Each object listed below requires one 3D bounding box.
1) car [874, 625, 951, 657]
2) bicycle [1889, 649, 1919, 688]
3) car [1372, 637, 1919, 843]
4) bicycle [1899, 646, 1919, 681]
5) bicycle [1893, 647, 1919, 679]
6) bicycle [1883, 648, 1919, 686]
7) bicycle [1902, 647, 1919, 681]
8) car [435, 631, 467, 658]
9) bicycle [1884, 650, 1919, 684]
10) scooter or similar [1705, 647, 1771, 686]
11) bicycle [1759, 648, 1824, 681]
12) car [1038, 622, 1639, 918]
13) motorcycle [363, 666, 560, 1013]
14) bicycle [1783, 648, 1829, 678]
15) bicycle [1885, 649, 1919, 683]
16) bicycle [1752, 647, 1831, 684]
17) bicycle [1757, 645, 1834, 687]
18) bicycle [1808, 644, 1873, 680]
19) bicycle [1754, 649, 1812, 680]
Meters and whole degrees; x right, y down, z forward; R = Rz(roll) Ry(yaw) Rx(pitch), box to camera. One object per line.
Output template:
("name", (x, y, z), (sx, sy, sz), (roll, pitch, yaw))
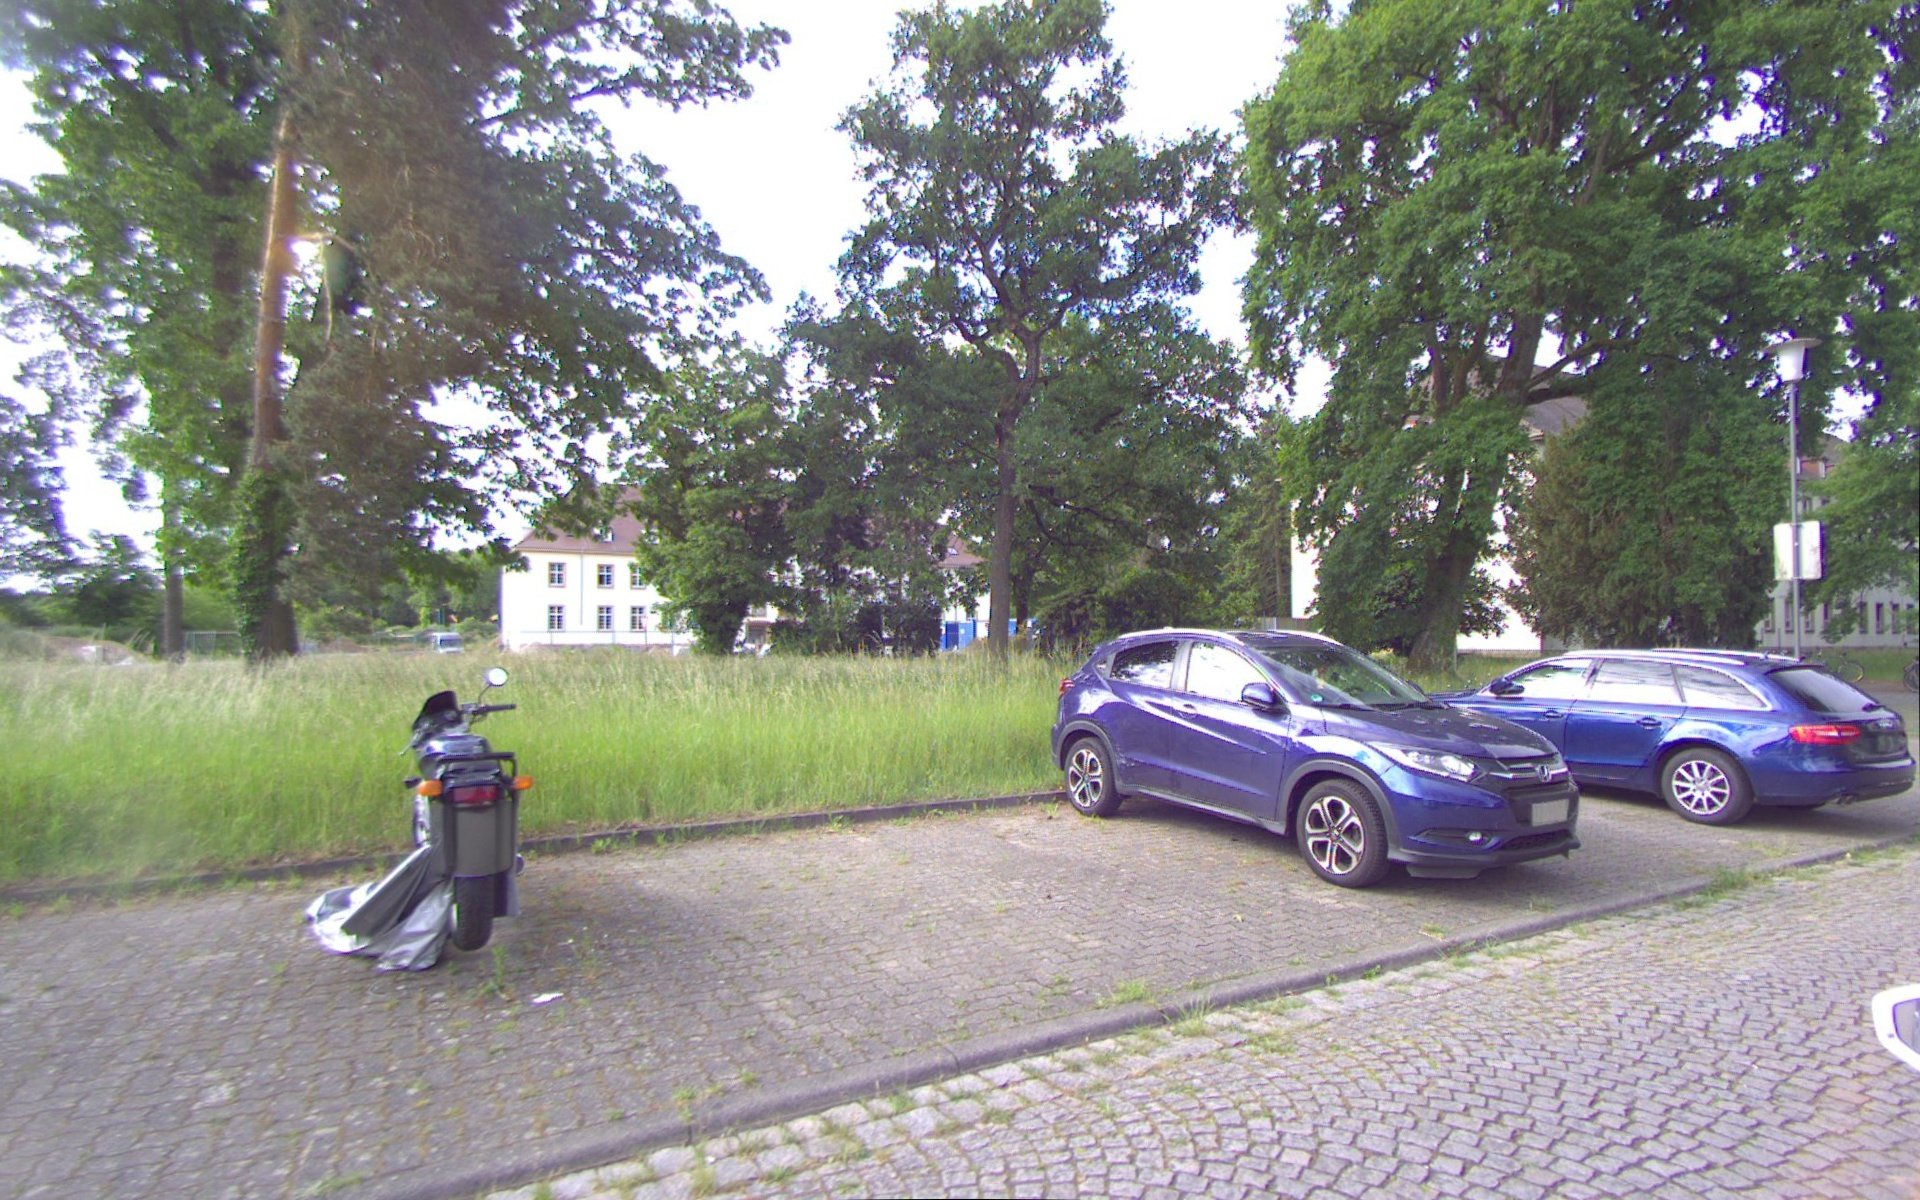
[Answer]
("car", (-3.638, 3.140, 76.860), (5.466, 2.237, 2.109), (2, 0, -30))
("bicycle", (29.156, 2.049, 30.202), (1.748, 1.118, 0.699), (-4, -2, 42))
("car", (6.480, 1.147, 9.962), (1.661, 1.499, 4.414), (1, -2, -28))
("bicycle", (32.462, 2.096, 33.433), (1.678, 1.131, 0.538), (-4, -2, 42))
("bicycle", (32.679, 2.132, 33.969), (1.598, 1.073, 0.524), (-4, -2, 42))
("bicycle", (29.586, 2.056, 30.850), (1.774, 1.118, 0.699), (-4, -2, 42))
("bicycle", (32.163, 2.099, 32.976), (1.752, 1.119, 0.538), (-4, -2, 42))
("car", (-43.057, 3.769, 84.898), (2.016, 2.040, 4.192), (2, 0, -32))
("bicycle", (30.064, 2.099, 31.396), (1.672, 1.015, 0.629), (-4, -2, 42))
("scooter or similar", (25.504, 2.171, 32.957), (0.673, 1.210, 1.543), (0, -2, -25))
("bicycle", (28.073, 2.164, 33.934), (1.601, 1.088, 0.538), (-2, 0, 31))
("car", (2.495, 0.995, 7.669), (1.769, 1.593, 4.118), (2, -2, -30))
("motorcycle", (-2.644, 1.046, 5.268), (0.735, 1.305, 2.346), (1, -2, -29))
("bicycle", (30.945, 2.312, 36.759), (1.245, 1.042, 0.431), (-4, -6, 42))
("bicycle", (30.735, 2.087, 31.891), (1.932, 1.018, 0.682), (-4, -2, 42))
("bicycle", (27.111, 2.129, 32.763), (1.963, 1.129, 0.640), (-2, 0, 42))
("bicycle", (26.751, 2.099, 32.178), (1.874, 1.239, 0.640), (-1, 0, 42))
("bicycle", (30.537, 2.142, 34.848), (1.617, 1.201, 0.572), (-2, 0, 36))
("bicycle", (28.811, 2.262, 35.178), (1.490, 1.049, 0.544), (-2, 0, 31))
